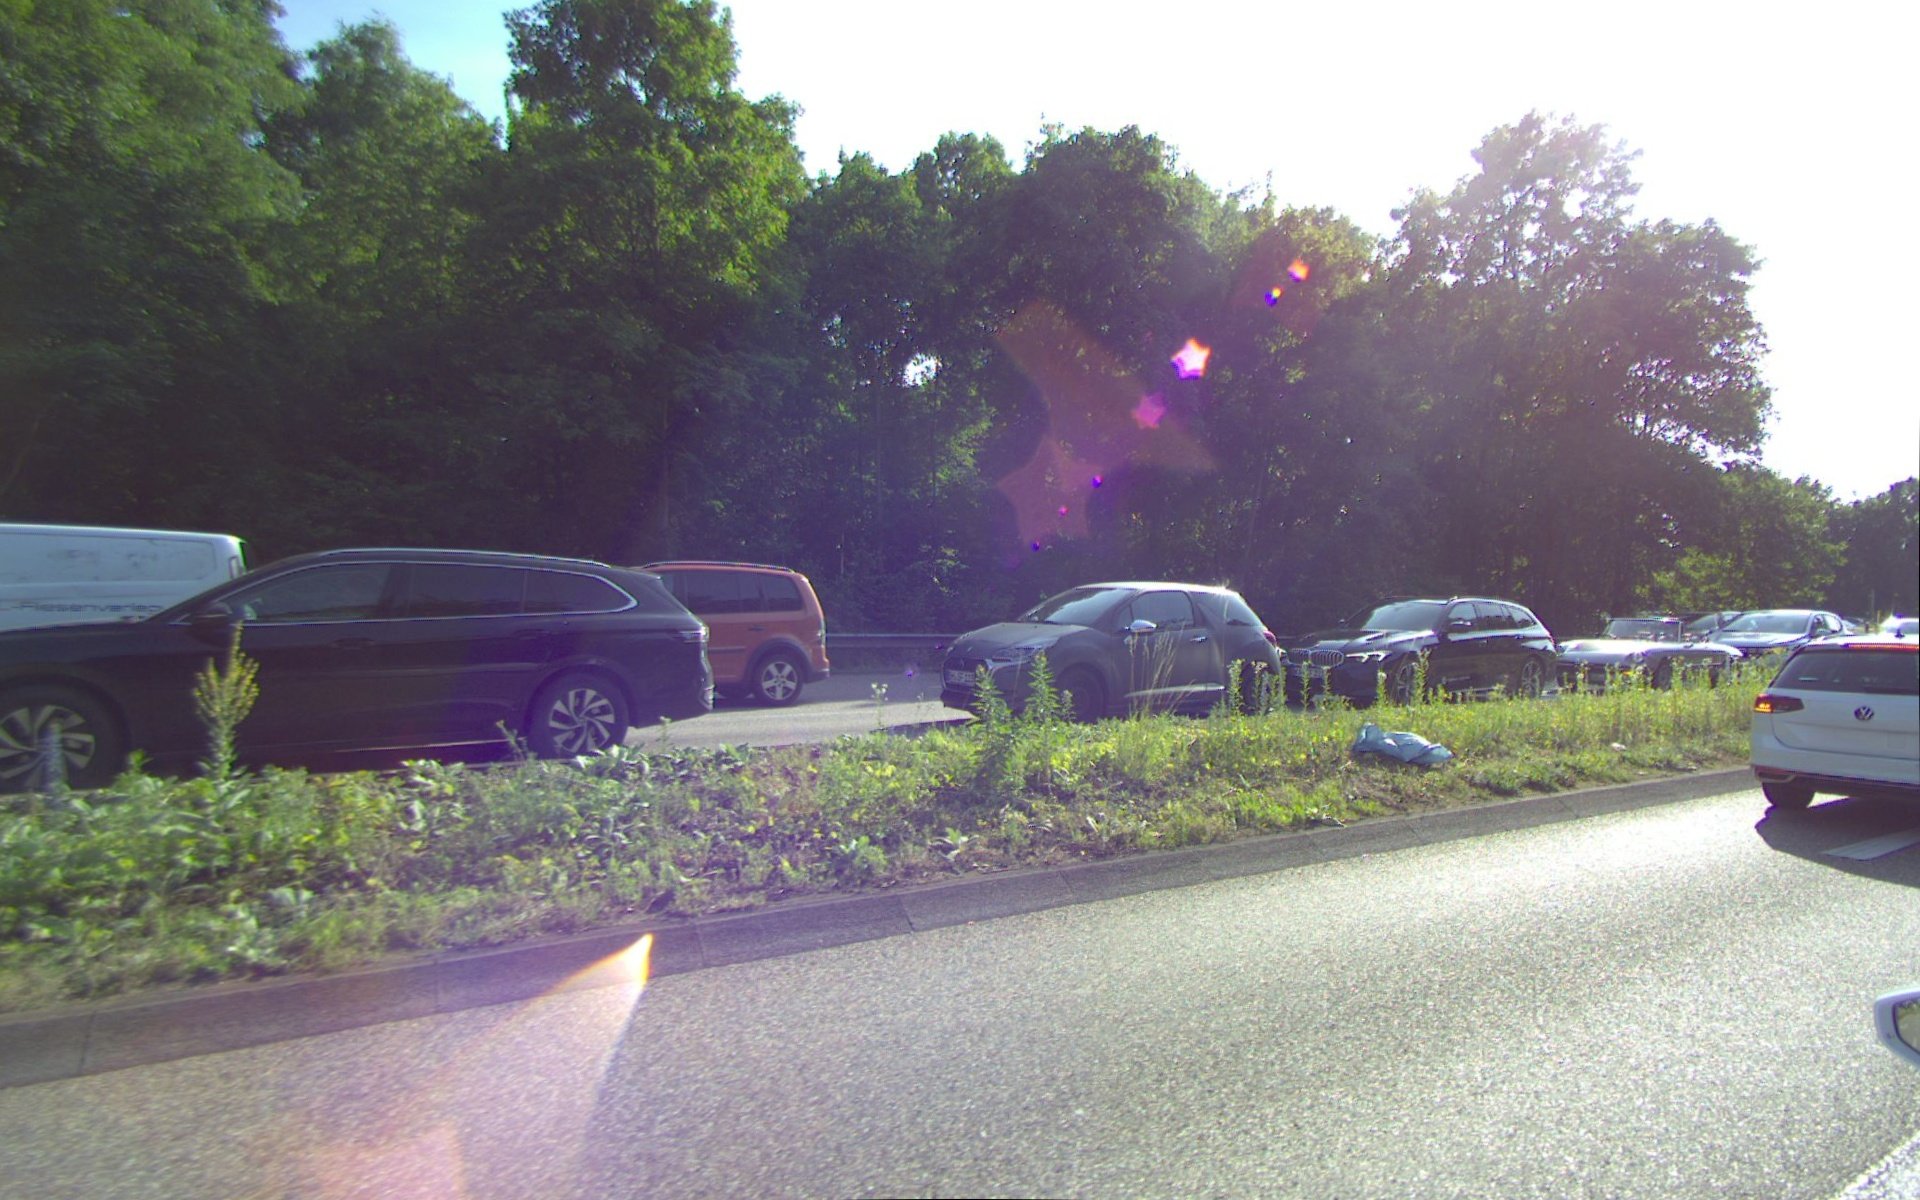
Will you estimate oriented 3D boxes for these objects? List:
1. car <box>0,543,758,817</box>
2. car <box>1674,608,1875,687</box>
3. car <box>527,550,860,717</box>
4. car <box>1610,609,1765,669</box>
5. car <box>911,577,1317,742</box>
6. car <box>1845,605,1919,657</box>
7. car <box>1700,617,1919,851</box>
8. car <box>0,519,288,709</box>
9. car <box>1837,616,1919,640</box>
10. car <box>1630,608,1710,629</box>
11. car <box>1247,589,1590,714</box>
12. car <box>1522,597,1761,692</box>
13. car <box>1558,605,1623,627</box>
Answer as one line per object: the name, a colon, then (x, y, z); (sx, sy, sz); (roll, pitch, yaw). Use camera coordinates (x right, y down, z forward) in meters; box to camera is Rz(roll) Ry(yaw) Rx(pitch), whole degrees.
car: (-4.151, 0.449, 6.926); (5.135, 1.442, 1.761); (1, -1, -32)
car: (16.478, 0.895, 20.269); (4.367, 1.436, 1.857); (1, -1, -32)
car: (-3.136, 0.389, 12.000); (3.536, 1.728, 1.616); (1, -2, -33)
car: (19.305, 0.990, 26.616); (4.367, 1.480, 1.857); (1, -1, -32)
car: (1.704, 0.556, 10.617); (4.165, 1.442, 1.697); (1, -1, -32)
car: (33.740, 1.065, 35.493); (6.156, 1.731, 2.091); (1, -1, -32)
car: (8.541, 0.993, 8.588); (4.779, 1.542, 1.860); (1, 3, -32)
car: (-10.582, 0.186, 11.171); (5.045, 1.961, 2.001); (1, -3, -32)
car: (68.180, 2.075, 74.392); (1.973, 1.510, 4.394); (1, 2, -25)
car: (60.965, 1.592, 86.381); (2.414, 1.510, 5.037); (1, 2, -25)
car: (6.368, 0.639, 13.728); (5.135, 1.442, 1.757); (1, -1, -32)
car: (11.599, 0.703, 17.024); (4.385, 1.436, 1.757); (1, -1, -32)
car: (58.159, 1.475, 92.738); (2.163, 1.750, 4.622); (1, 2, -25)
